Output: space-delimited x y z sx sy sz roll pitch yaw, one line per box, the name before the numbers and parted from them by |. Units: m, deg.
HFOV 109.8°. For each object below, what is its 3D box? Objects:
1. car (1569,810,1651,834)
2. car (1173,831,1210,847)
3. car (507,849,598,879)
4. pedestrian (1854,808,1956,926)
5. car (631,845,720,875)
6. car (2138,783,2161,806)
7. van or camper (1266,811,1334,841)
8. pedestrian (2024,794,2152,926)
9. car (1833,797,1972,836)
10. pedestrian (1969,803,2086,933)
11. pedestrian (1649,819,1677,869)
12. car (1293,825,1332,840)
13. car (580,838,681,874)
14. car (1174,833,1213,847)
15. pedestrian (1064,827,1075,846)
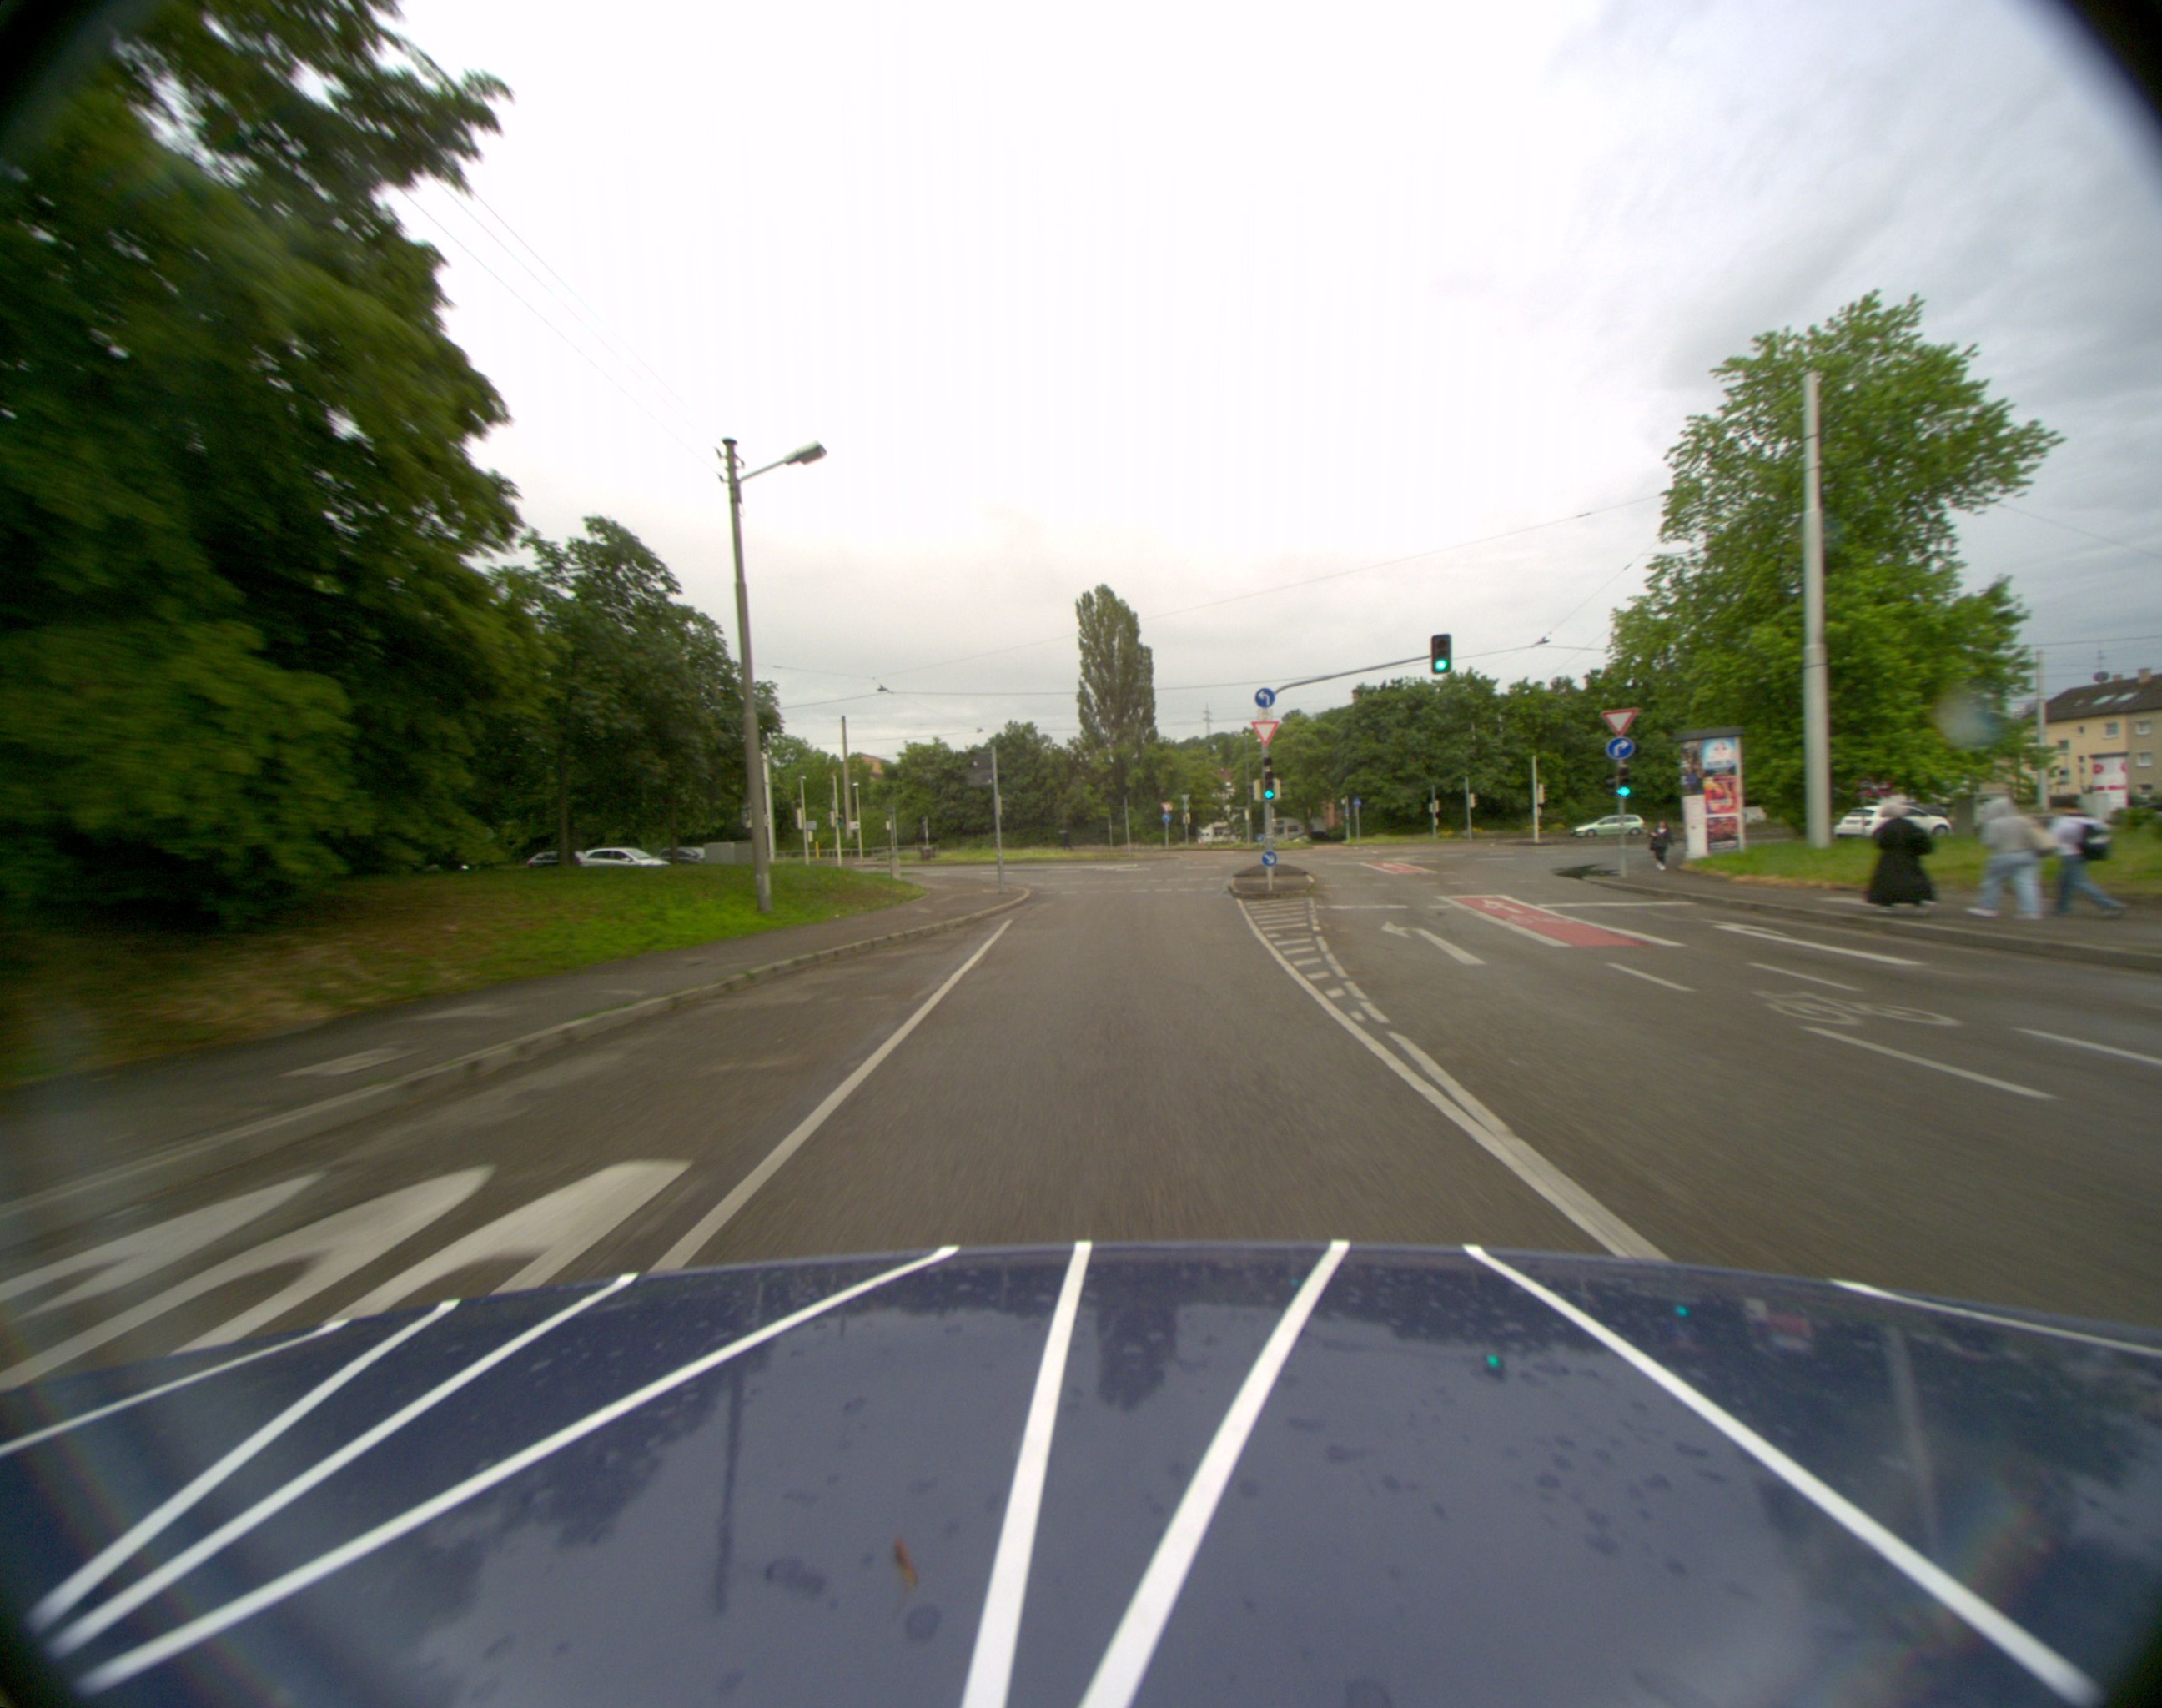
car | 36.432 -2.166 52.446 4.195 1.441 1.890 -2 1 9
car | 12.436 -1.703 85.561 3.996 1.540 1.678 -2 2 3
car | -28.298 0.503 40.711 3.787 1.394 1.606 -2 4 7
pedestrian | 11.701 0.185 10.820 0.657 1.592 0.678 -4 0 15
car | -21.410 0.297 40.182 3.787 1.394 1.606 -2 4 7
car | 81.868 -4.597 56.217 1.876 1.645 4.293 -5 -2 13
van or camper | 22.653 -2.871 78.763 6.424 2.739 2.431 -2 2 6
pedestrian | 12.886 0.078 9.748 0.657 1.592 0.678 -4 0 15
car | 35.253 -1.615 32.671 3.996 1.474 1.692 -2 3 3
pedestrian | 12.252 0.172 9.862 0.606 1.592 0.678 -4 0 15
pedestrian | 18.309 -0.310 23.895 0.591 1.523 0.670 -4 1 39
car | 23.091 -2.132 75.875 3.469 1.346 1.678 -2 2 3
car | -21.982 0.099 37.176 3.858 1.546 1.724 -2 4 5
car | 12.333 -1.579 83.380 3.996 1.346 1.678 -2 2 3
pedestrian | -0.971 -1.479 63.975 0.682 1.597 0.810 -4 0 10
